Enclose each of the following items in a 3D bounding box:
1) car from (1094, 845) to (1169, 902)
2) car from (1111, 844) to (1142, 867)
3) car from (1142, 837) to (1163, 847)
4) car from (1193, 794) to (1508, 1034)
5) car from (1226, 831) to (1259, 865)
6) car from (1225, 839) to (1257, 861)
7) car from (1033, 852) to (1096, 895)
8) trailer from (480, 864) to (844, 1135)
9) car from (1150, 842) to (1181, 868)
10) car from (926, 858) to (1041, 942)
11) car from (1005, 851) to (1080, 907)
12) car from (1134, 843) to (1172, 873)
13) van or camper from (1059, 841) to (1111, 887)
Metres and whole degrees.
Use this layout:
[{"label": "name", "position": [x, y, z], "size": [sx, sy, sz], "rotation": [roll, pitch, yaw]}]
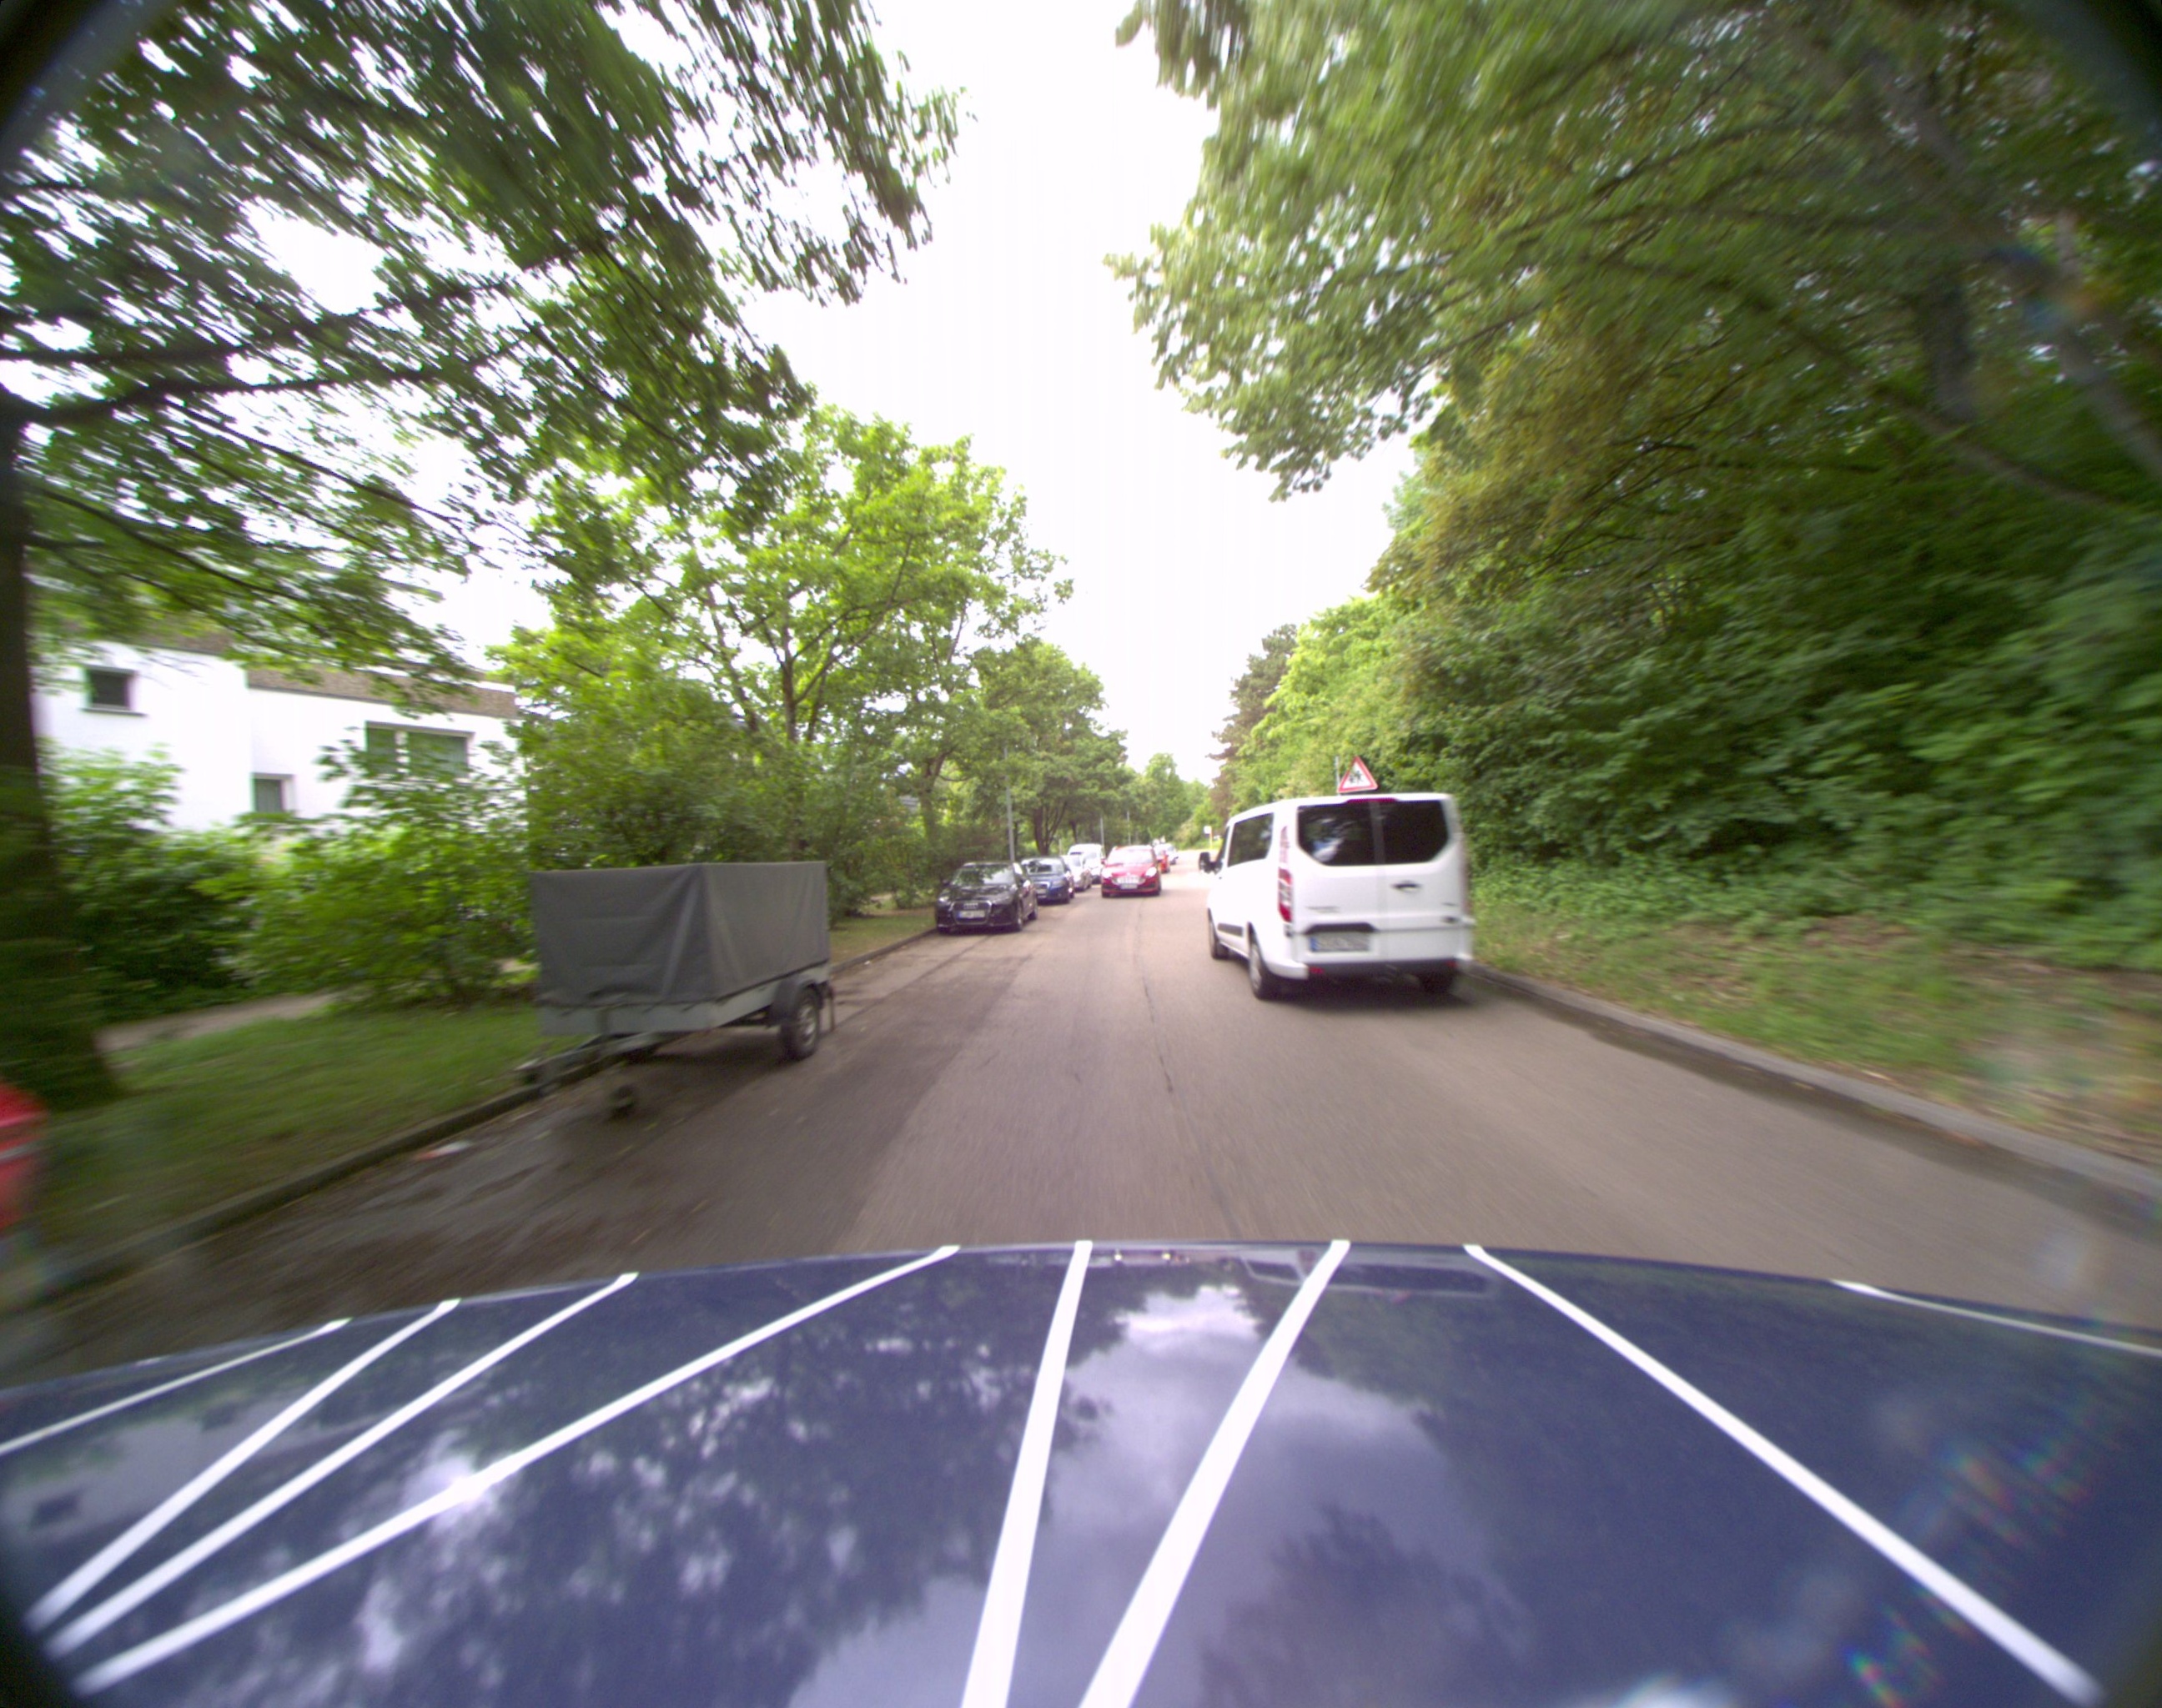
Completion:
[{"label": "car", "position": [1.824, 0.583, 25.844], "size": [1.944, 1.550, 4.358], "rotation": [-4, 1, 10]}, {"label": "car", "position": [3.455, 0.080, 56.511], "size": [1.890, 1.498, 5.178], "rotation": [-2, 1, 8]}, {"label": "car", "position": [15.087, -2.485, 159.872], "size": [3.802, 1.629, 2.003], "rotation": [-4, 2, 33]}, {"label": "car", "position": [2.650, 0.512, 8.782], "size": [1.952, 1.973, 4.501], "rotation": [-3, 0, 0]}, {"label": "car", "position": [10.155, -0.365, 47.870], "size": [1.724, 1.910, 4.107], "rotation": [-5, 0, 10]}, {"label": "car", "position": [11.402, -0.281, 54.386], "size": [1.809, 1.394, 4.373], "rotation": [-4, 0, 7]}, {"label": "car", "position": [-0.563, 0.718, 29.831], "size": [1.816, 1.429, 4.244], "rotation": [-4, 1, 7]}, {"label": "trailer", "position": [-2.971, 0.923, 5.914], "size": [1.281, 1.576, 2.460], "rotation": [-3, 1, 3]}, {"label": "car", "position": [6.638, 0.082, 59.335], "size": [1.997, 1.685, 4.001], "rotation": [-5, 2, 10]}, {"label": "car", "position": [-1.957, 0.883, 16.403], "size": [1.724, 1.444, 3.918], "rotation": [-3, 1, 3]}, {"label": "car", "position": [-1.113, 0.711, 23.961], "size": [1.851, 1.466, 4.479], "rotation": [-3, 1, 3]}, {"label": "car", "position": [4.132, 0.234, 43.753], "size": [1.998, 1.503, 4.002], "rotation": [-5, 0, 5]}, {"label": "van or camper", "position": [0.248, 0.384, 35.311], "size": [1.805, 1.828, 4.321], "rotation": [-3, 2, 7]}]
